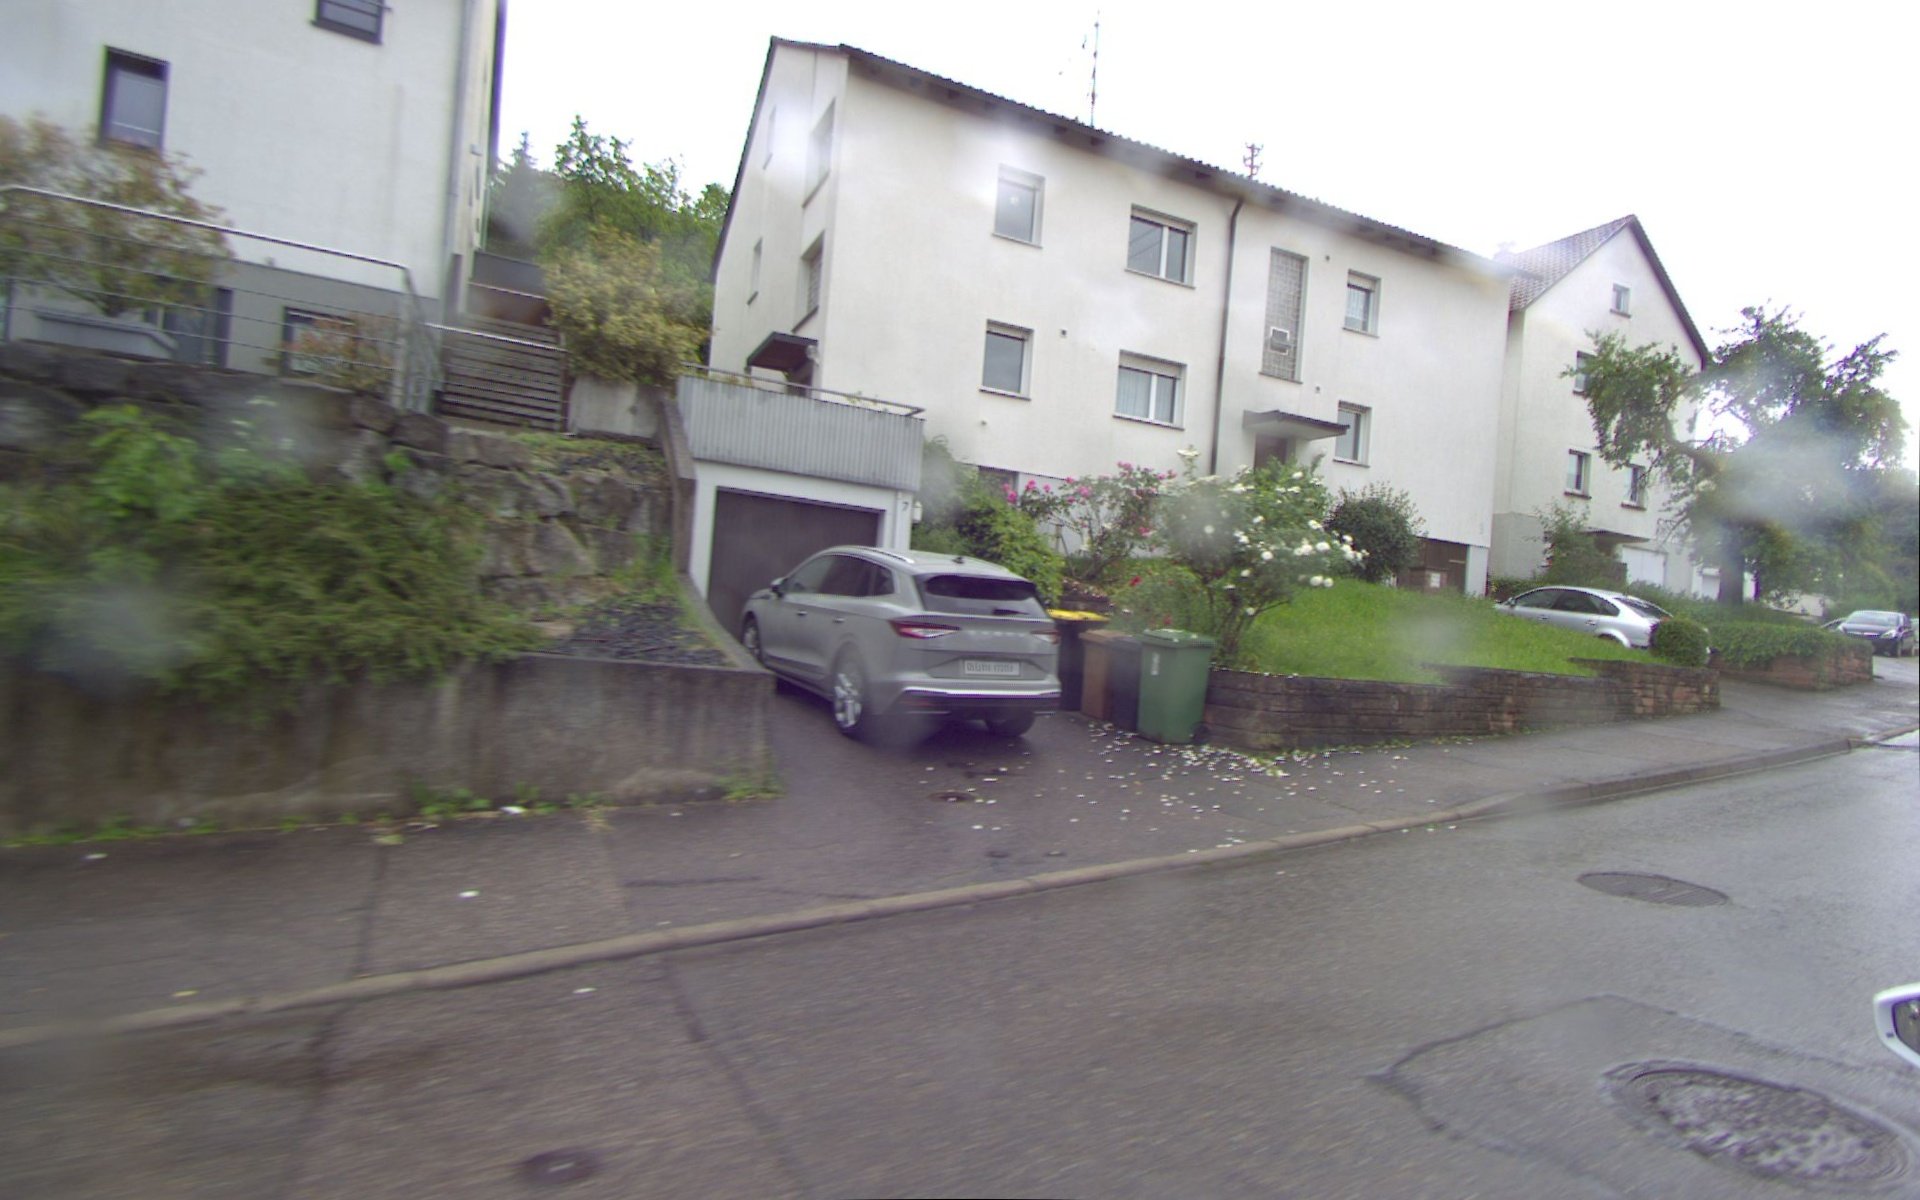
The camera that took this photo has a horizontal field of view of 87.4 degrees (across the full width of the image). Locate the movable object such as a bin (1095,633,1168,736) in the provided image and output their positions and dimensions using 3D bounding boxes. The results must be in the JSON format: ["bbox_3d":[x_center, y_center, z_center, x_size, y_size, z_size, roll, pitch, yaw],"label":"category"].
[{"bbox_3d":[1.743,0.851,10.245,0.489,0.966,0.466,1,5,-28],"label":"movable object such as a bin"}]

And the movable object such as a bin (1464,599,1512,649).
[{"bbox_3d":[12.928,0.589,24.604,0.672,1.186,0.795,1,0,-19],"label":"movable object such as a bin"}]

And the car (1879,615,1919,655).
[{"bbox_3d":[40.919,1.493,43.270,1.784,1.618,4.390,1,-1,45],"label":"car"}]

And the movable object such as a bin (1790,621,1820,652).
[{"bbox_3d":[30.879,1.322,36.697,0.549,1.092,0.651,1,0,-24],"label":"movable object such as a bin"}]

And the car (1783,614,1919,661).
[{"bbox_3d":[33.755,1.448,37.838,1.782,1.496,3.811,1,-6,-30],"label":"car"}]

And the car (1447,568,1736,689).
[{"bbox_3d":[11.702,0.453,18.980,1.742,1.451,4.239,3,8,-24],"label":"car"}]

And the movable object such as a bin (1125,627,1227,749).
[{"bbox_3d":[2.116,0.840,9.863,0.735,1.090,0.534,1,6,-32],"label":"movable object such as a bin"}]

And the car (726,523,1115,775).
[{"bbox_3d":[-0.688,0.257,9.936,1.910,1.636,4.487,2,6,-30],"label":"car"}]

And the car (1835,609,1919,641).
[{"bbox_3d":[60.915,1.603,65.750,2.115,1.970,5.063,1,0,-28],"label":"car"}]

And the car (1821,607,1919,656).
[{"bbox_3d":[30.646,1.054,33.748,4.210,1.395,1.752,2,3,-38],"label":"car"}]

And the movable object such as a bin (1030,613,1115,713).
[{"bbox_3d":[1.262,0.691,11.310,0.702,1.033,0.534,1,5,-32],"label":"movable object such as a bin"}]

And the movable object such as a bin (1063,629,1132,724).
[{"bbox_3d":[1.472,0.809,10.808,0.489,0.937,0.482,1,5,-28],"label":"movable object such as a bin"}]
